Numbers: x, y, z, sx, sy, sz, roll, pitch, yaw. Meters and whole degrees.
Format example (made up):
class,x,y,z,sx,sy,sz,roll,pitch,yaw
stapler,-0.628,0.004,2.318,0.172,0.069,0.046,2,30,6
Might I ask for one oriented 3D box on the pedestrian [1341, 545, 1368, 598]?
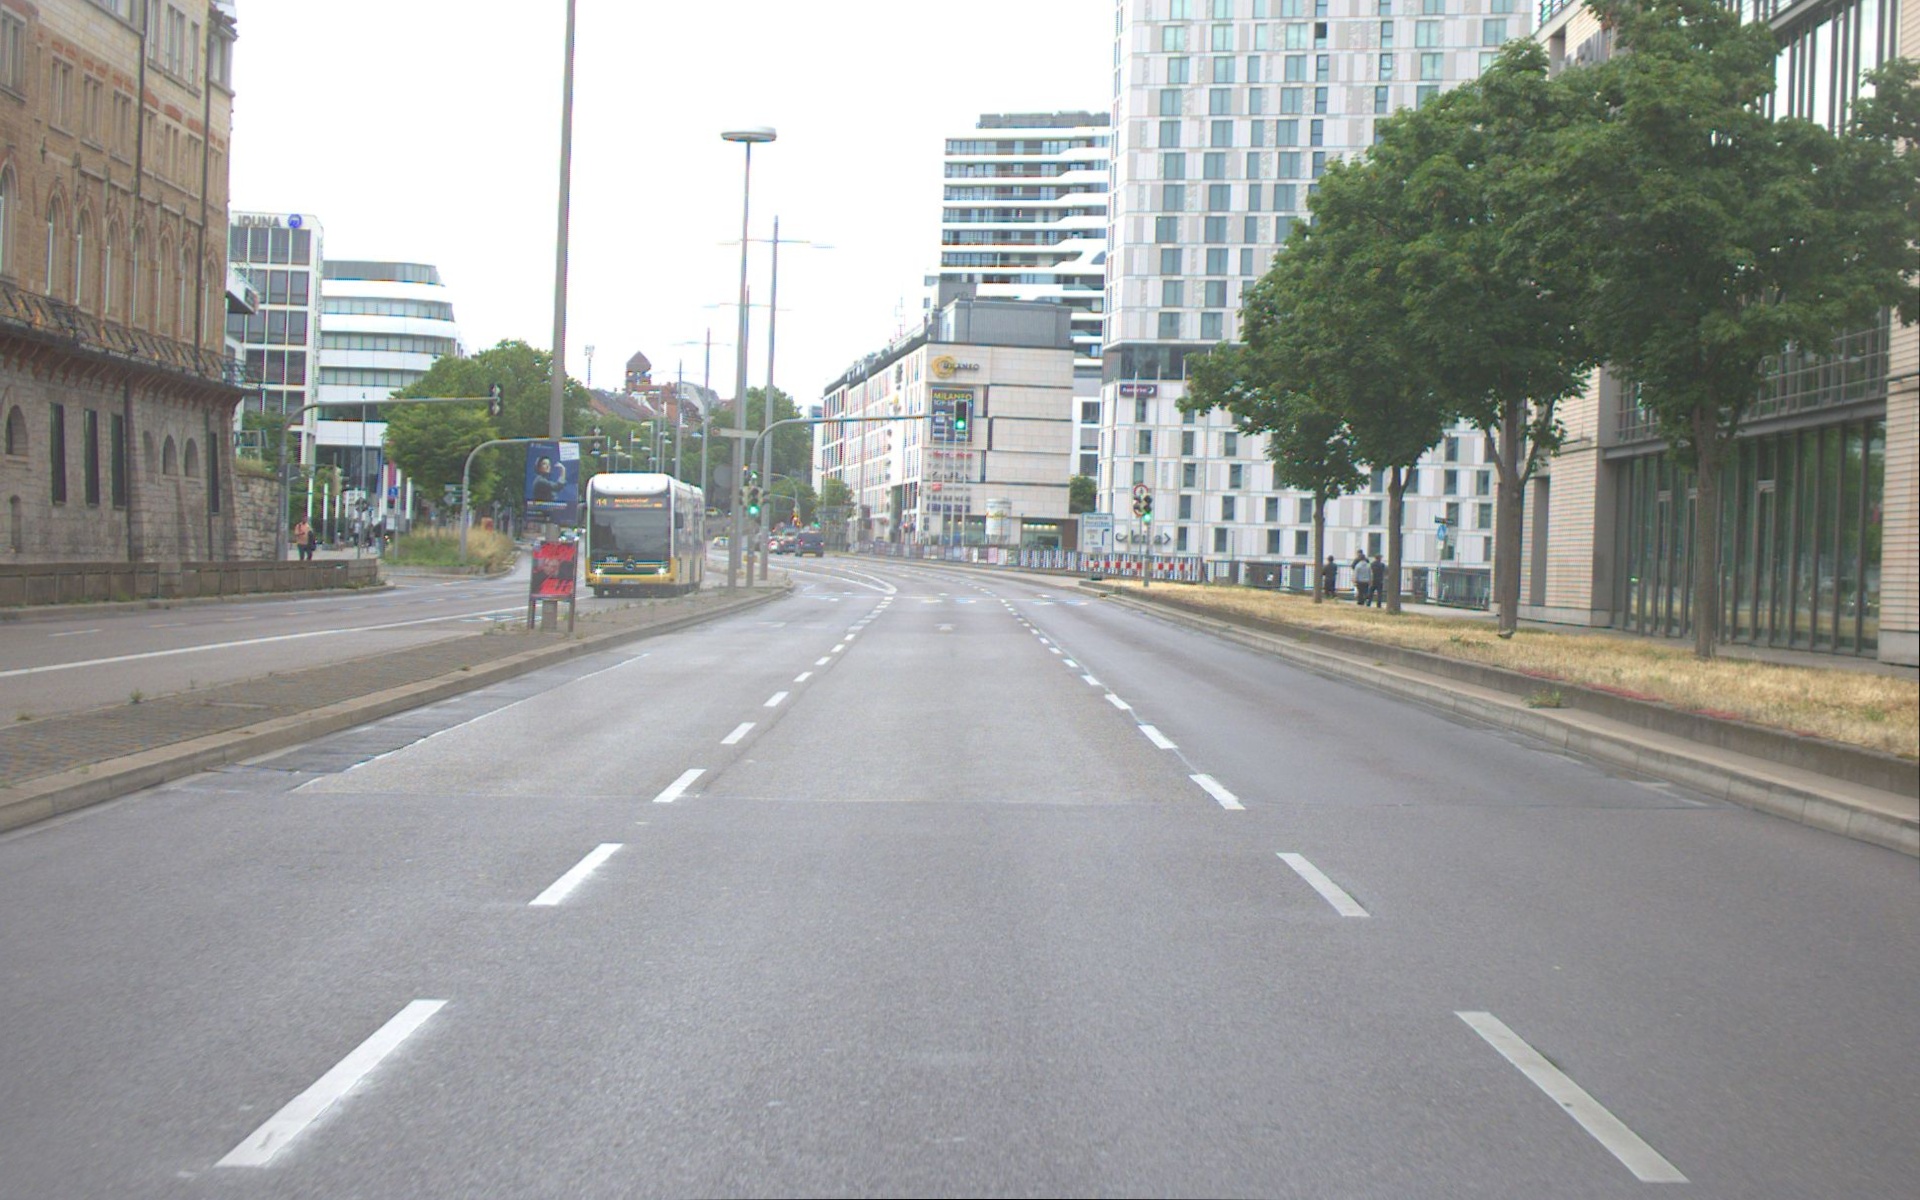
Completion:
class,x,y,z,sx,sy,sz,roll,pitch,yaw
pedestrian,11.946,-0.870,104.026,0.550,1.572,0.669,2,4,34

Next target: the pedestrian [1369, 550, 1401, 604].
class,x,y,z,sx,sy,sz,roll,pitch,yaw
pedestrian,12.674,-0.680,102.496,0.670,1.572,0.667,3,3,38

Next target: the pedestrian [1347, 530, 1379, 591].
class,x,y,z,sx,sy,sz,roll,pitch,yaw
pedestrian,12.190,-1.199,104.000,0.781,1.835,0.551,-1,3,-44

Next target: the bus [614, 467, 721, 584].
class,x,y,z,sx,sy,sz,roll,pitch,yaw
bus,-9.328,-2.420,110.547,2.698,3.547,10.094,1,1,-1

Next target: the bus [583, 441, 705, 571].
class,x,y,z,sx,sy,sz,roll,pitch,yaw
bus,-9.075,-2.646,99.613,2.698,3.547,10.094,1,1,-1

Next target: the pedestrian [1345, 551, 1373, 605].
class,x,y,z,sx,sy,sz,roll,pitch,yaw
pedestrian,11.809,-0.655,101.843,0.550,1.572,0.669,2,3,34
